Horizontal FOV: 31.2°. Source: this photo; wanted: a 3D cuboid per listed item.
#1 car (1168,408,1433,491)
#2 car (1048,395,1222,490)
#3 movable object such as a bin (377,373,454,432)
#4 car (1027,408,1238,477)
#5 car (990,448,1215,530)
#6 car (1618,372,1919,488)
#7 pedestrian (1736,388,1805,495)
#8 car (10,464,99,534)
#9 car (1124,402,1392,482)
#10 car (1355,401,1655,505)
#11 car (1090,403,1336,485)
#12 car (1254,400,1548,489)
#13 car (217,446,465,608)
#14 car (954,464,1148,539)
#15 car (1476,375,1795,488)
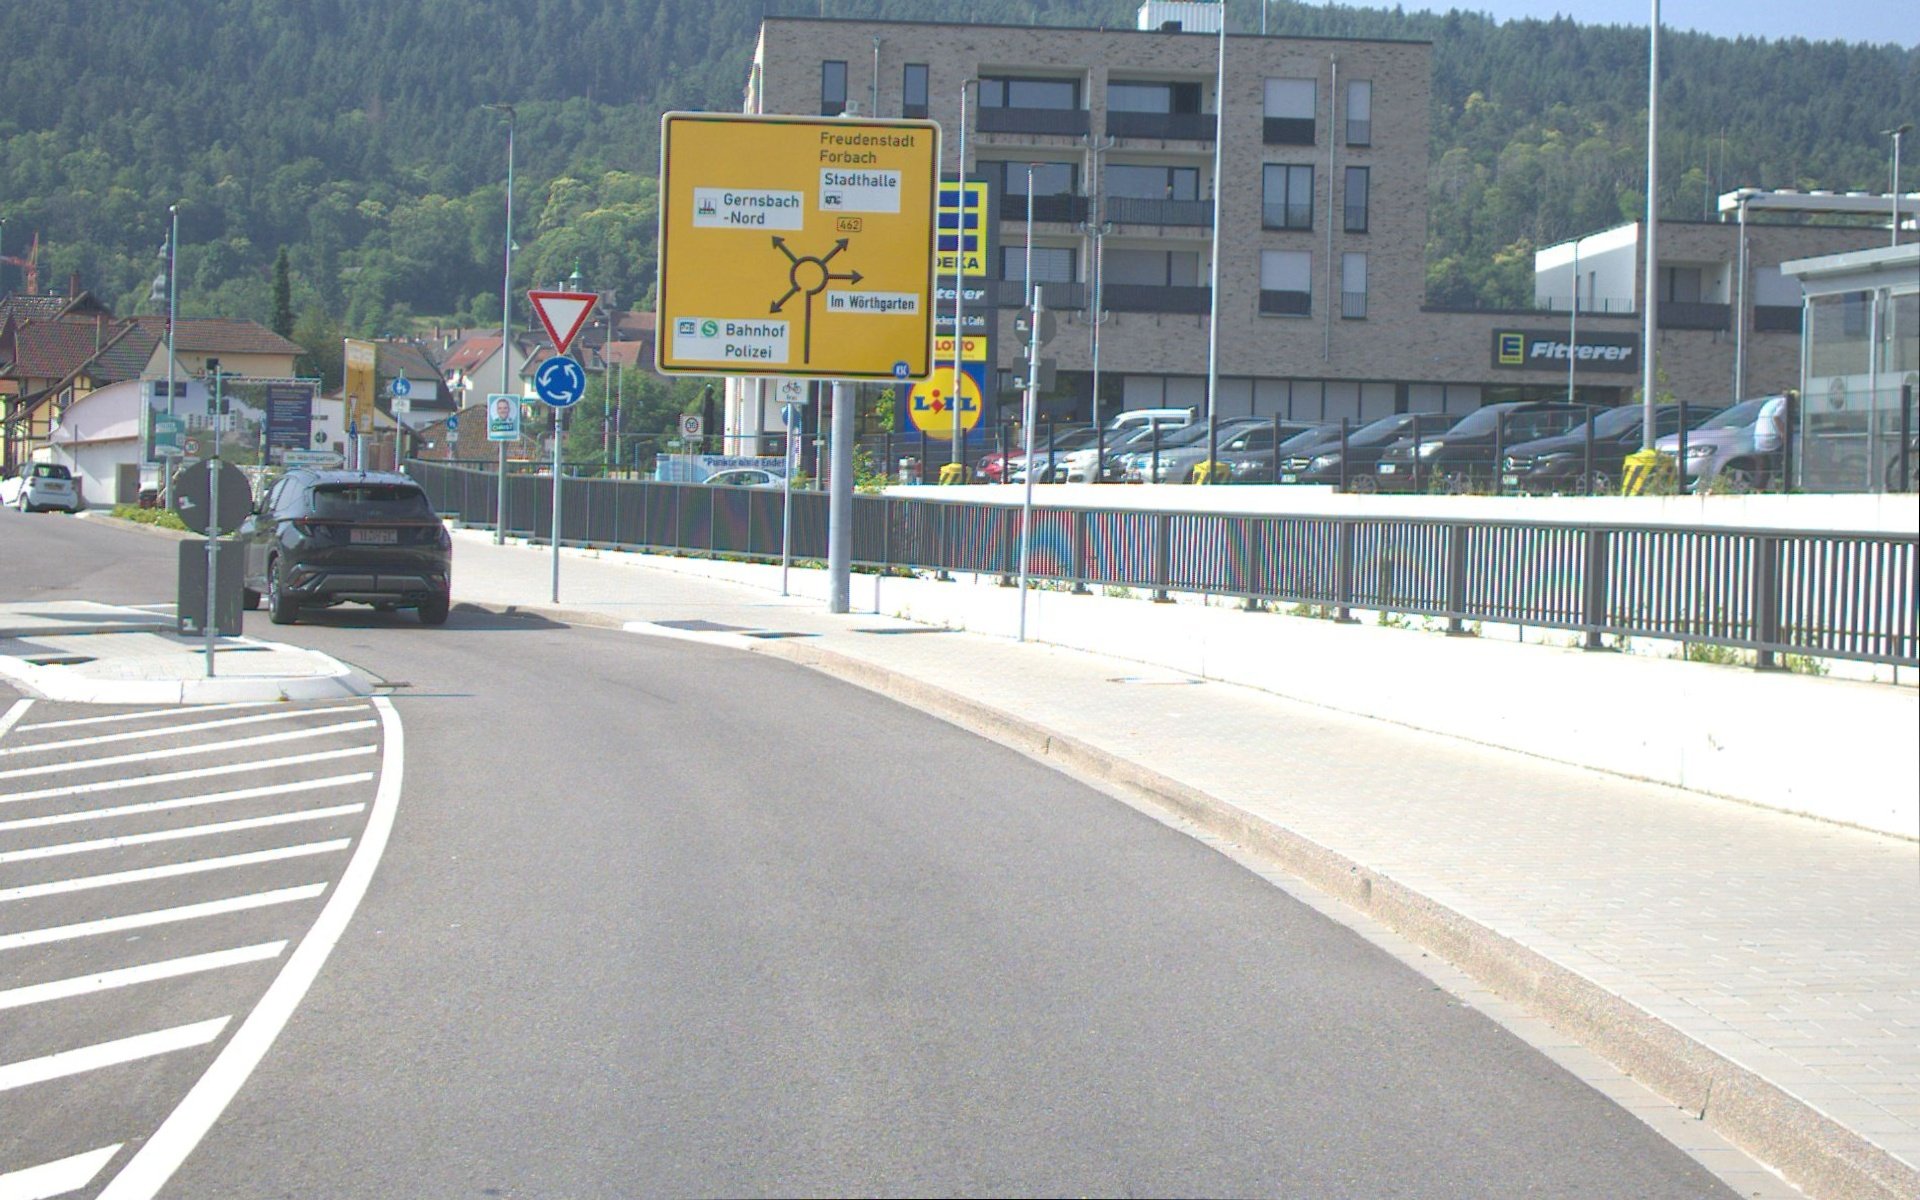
[{"bbox_3d":[5.625,-2.488,56.830,3.965,1.241,1.731,1,2,-19],"label":"car"},{"bbox_3d":[4.100,-3.684,80.782,3.987,2.128,2.000,1,1,3],"label":"car"},{"bbox_3d":[-17.704,-6.410,111.812,2.442,1.837,1.429,0,1,-10],"label":"movable object such as a bin"},{"bbox_3d":[3.251,-2.972,64.930,3.554,1.195,1.715,1,2,-18],"label":"car"},{"bbox_3d":[2.807,-2.186,67.764,4.055,1.482,1.717,1,2,-16],"label":"car"},{"bbox_3d":[10.587,-2.165,44.163,3.804,1.359,1.681,1,2,-19],"label":"car"},{"bbox_3d":[10.066,-1.961,42.707,0.547,1.307,0.657,1,1,-17],"label":"pedestrian"},{"bbox_3d":[-26.899,-2.999,102.212,1.993,2.007,4.001,1,1,-7],"label":"car"},{"bbox_3d":[5.151,-2.724,59.471,4.277,1.241,1.665,1,2,-19],"label":"car"},{"bbox_3d":[8.061,-2.169,50.921,4.004,1.399,1.726,1,2,-19],"label":"car"},{"bbox_3d":[4.518,-2.782,61.488,4.035,1.338,1.661,1,2,-18],"label":"car"},{"bbox_3d":[6.926,-2.435,54.011,4.212,1.241,1.745,1,2,-19],"label":"car"},{"bbox_3d":[-6.873,-0.810,37.870,1.880,1.678,4.001,0,1,-22],"label":"car"},{"bbox_3d":[1.857,-2.020,70.335,3.554,1.425,1.711,1,2,-18],"label":"car"},{"bbox_3d":[9.275,-2.299,47.223,4.060,1.399,1.486,1,2,-19],"label":"car"}]
